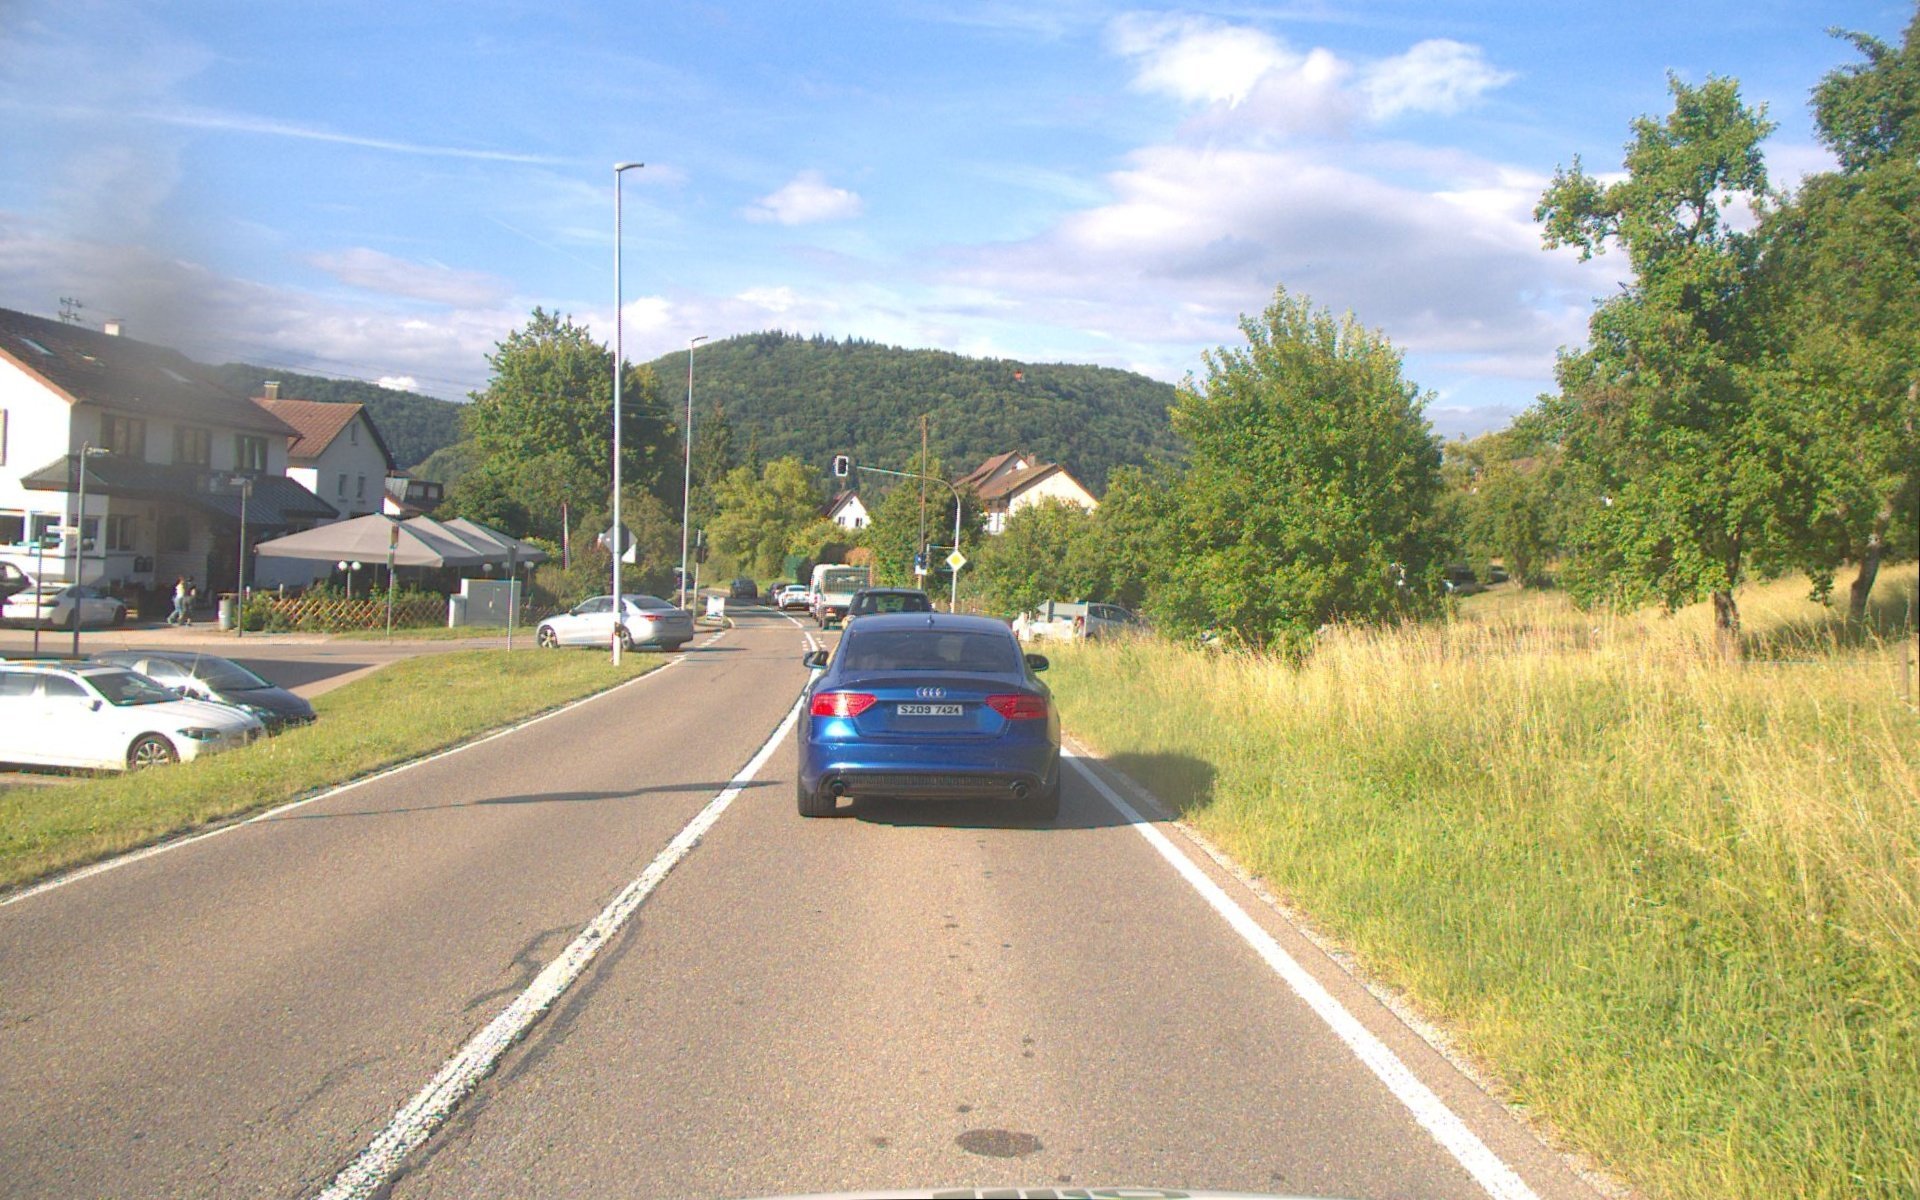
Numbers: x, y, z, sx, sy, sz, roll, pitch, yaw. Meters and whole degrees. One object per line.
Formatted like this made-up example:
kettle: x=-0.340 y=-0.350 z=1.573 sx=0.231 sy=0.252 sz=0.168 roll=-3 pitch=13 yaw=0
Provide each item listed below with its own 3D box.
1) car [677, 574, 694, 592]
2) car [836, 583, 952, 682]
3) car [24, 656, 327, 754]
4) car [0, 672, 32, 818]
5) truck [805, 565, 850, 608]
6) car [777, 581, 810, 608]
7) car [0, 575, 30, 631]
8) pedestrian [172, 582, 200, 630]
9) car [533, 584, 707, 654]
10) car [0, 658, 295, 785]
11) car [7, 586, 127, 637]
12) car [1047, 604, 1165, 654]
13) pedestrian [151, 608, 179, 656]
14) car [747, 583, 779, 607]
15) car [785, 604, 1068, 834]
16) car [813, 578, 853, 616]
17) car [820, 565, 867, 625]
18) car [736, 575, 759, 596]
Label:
car: x=-26.301 y=-1.613 z=158.456 sx=1.596 sy=1.604 sz=3.670 roll=1 pitch=-1 yaw=-10
car: x=-1.147 y=0.586 z=30.524 sx=1.709 sy=1.668 sz=4.002 roll=1 pitch=-1 yaw=4
car: x=-12.223 y=1.618 z=25.899 sx=3.902 sy=1.333 sz=1.762 roll=1 pitch=-1 yaw=7
car: x=-13.094 y=1.636 z=18.906 sx=3.939 sy=1.666 sz=2.002 roll=1 pitch=-1 yaw=11
truck: x=-6.583 y=-0.635 z=81.682 sx=1.666 sy=1.988 sz=5.908 roll=1 pitch=-1 yaw=-10
car: x=-9.902 y=-0.324 z=97.999 sx=1.667 sy=1.516 sz=3.518 roll=1 pitch=-1 yaw=-10
car: x=-30.238 y=0.066 z=50.093 sx=1.849 sy=1.691 sz=3.999 roll=1 pitch=-1 yaw=-1
pedestrian: x=-24.995 y=0.191 z=53.394 sx=0.596 sy=1.529 sz=0.590 roll=1 pitch=-1 yaw=-1
car: x=-8.722 y=0.476 z=42.283 sx=4.370 sy=1.668 sz=1.805 roll=1 pitch=-1 yaw=34
car: x=-12.057 y=1.650 z=23.259 sx=4.711 sy=1.520 sz=1.882 roll=1 pitch=-1 yaw=11
car: x=-27.301 y=0.368 z=50.683 sx=1.524 sy=1.475 sz=3.999 roll=1 pitch=-1 yaw=-1
car: x=4.686 y=0.941 z=52.683 sx=3.695 sy=1.503 sz=1.607 roll=2 pitch=-1 yaw=-40
pedestrian: x=-25.983 y=1.050 z=54.088 sx=0.596 sy=1.529 sz=0.590 roll=1 pitch=-1 yaw=-1
car: x=-12.838 y=-0.308 z=107.568 sx=1.668 sy=1.516 sz=3.514 roll=1 pitch=-1 yaw=-13
car: x=-0.083 y=0.761 z=12.292 sx=1.757 sy=1.412 sz=4.002 roll=0 pitch=-1 yaw=4
car: x=-5.847 y=-0.124 z=76.076 sx=1.712 sy=1.668 sz=3.996 roll=1 pitch=-1 yaw=-5
car: x=-4.561 y=-0.168 z=64.312 sx=1.712 sy=2.234 sz=3.996 roll=1 pitch=-1 yaw=-5
car: x=-16.311 y=-1.067 z=126.959 sx=1.665 sy=1.516 sz=3.521 roll=1 pitch=-1 yaw=-8
